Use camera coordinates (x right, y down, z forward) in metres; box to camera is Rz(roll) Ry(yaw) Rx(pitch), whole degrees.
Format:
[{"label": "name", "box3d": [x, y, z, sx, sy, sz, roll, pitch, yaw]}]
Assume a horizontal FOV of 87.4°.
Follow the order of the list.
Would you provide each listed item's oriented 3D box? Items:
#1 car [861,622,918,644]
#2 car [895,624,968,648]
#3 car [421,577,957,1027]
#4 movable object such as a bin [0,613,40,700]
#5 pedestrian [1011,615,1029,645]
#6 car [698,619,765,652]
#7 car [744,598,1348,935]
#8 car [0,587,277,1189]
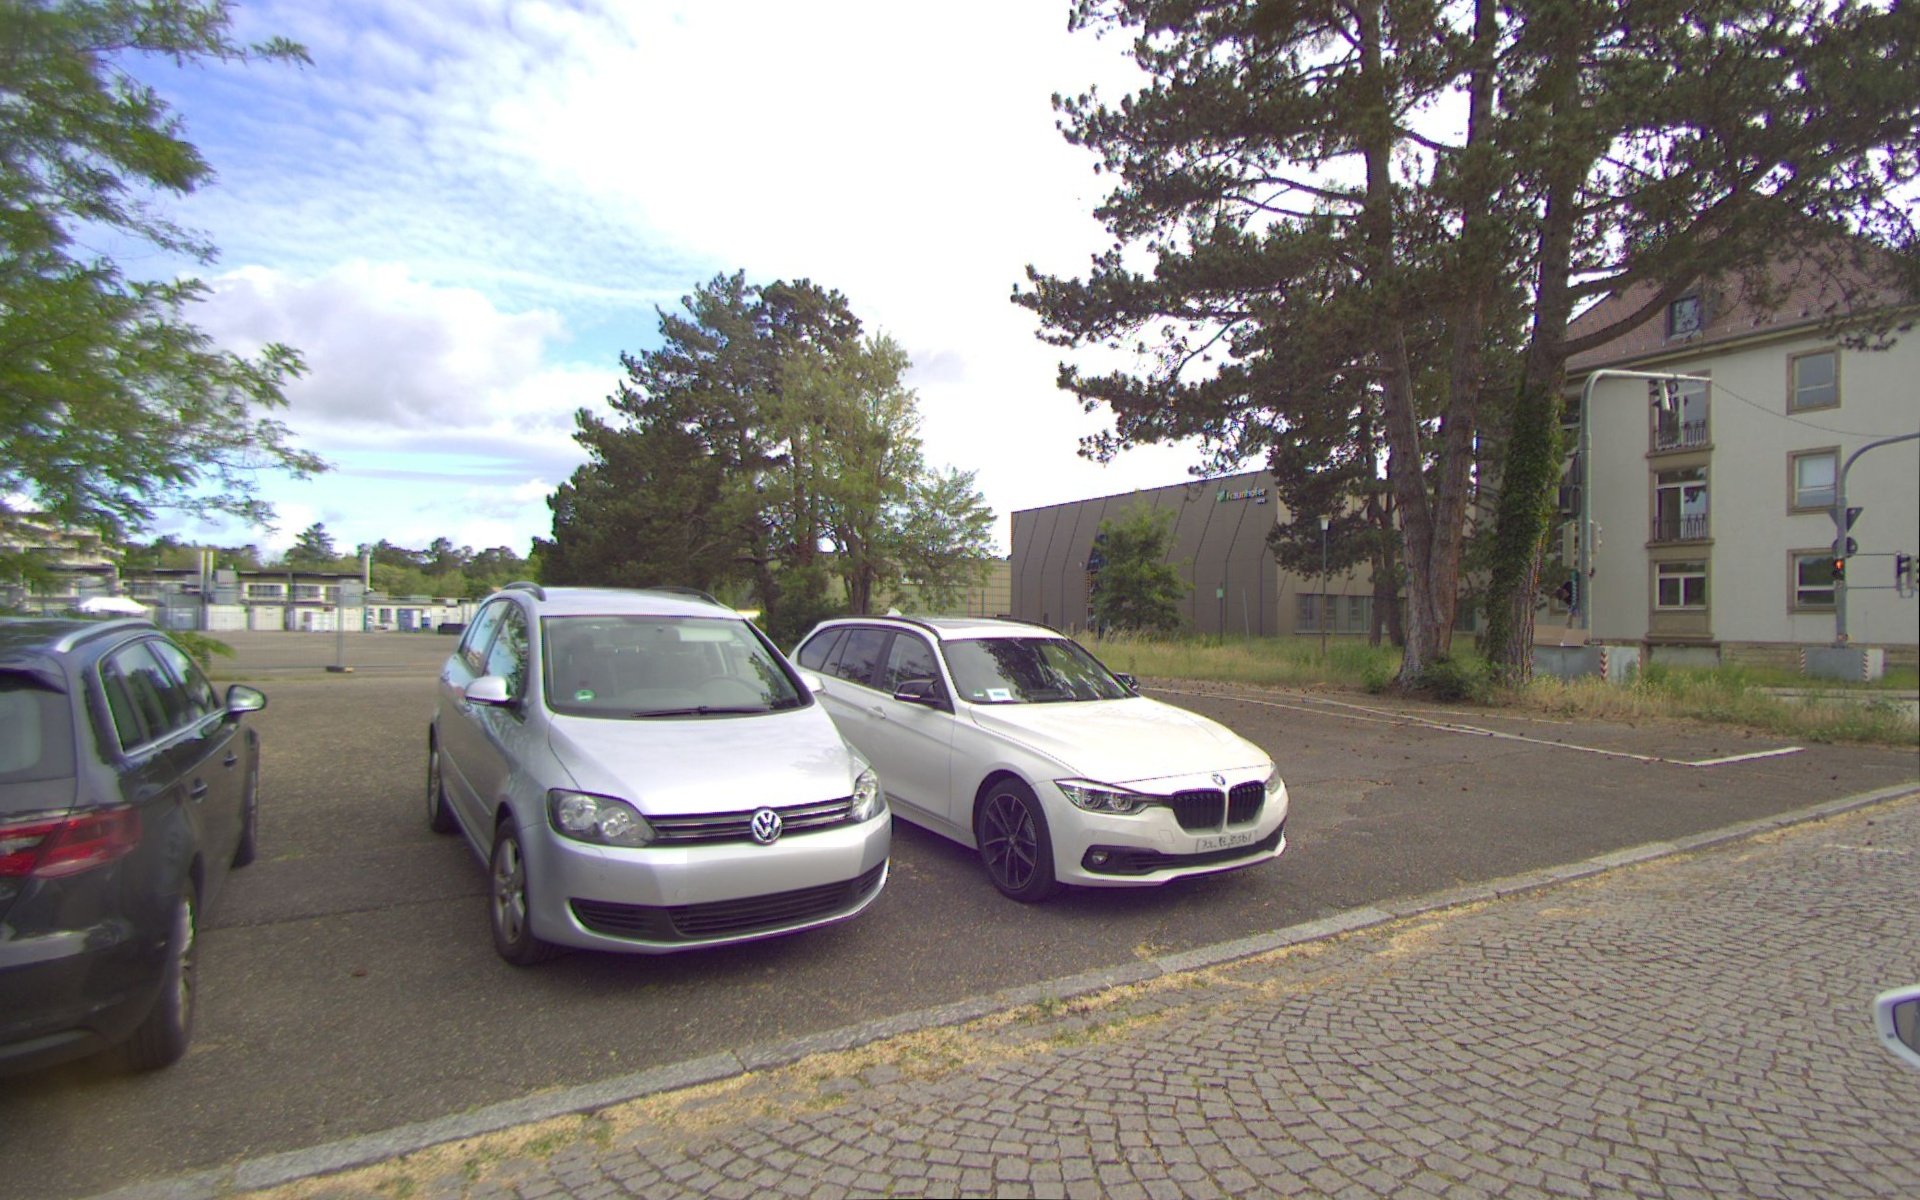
[{"label": "car", "box3d": [-5.118, 2.361, 73.006, 3.615, 1.449, 1.985, -1, 0, -29]}, {"label": "car", "box3d": [-1.898, 2.371, 66.316, 4.405, 1.449, 1.985, -1, 0, -29]}, {"label": "car", "box3d": [-1.849, 0.701, 5.709, 1.707, 1.568, 3.961, 1, 1, -34]}, {"label": "movable object such as a bin", "box3d": [-13.681, 0.757, 13.339, 1.480, 1.176, 2.384, 1, -1, -25]}, {"label": "pedestrian", "box3d": [4.057, 2.036, 67.786, 0.891, 2.040, 0.914, 1, -1, -30]}, {"label": "car", "box3d": [-10.078, 1.536, 44.182, 1.678, 1.410, 3.965, 1, -1, -32]}, {"label": "car", "box3d": [0.183, 0.800, 7.152, 1.783, 1.463, 4.618, 1, 1, -34]}, {"label": "car", "box3d": [-3.908, 0.717, 3.978, 1.731, 1.446, 3.966, 1, 1, -31]}]
